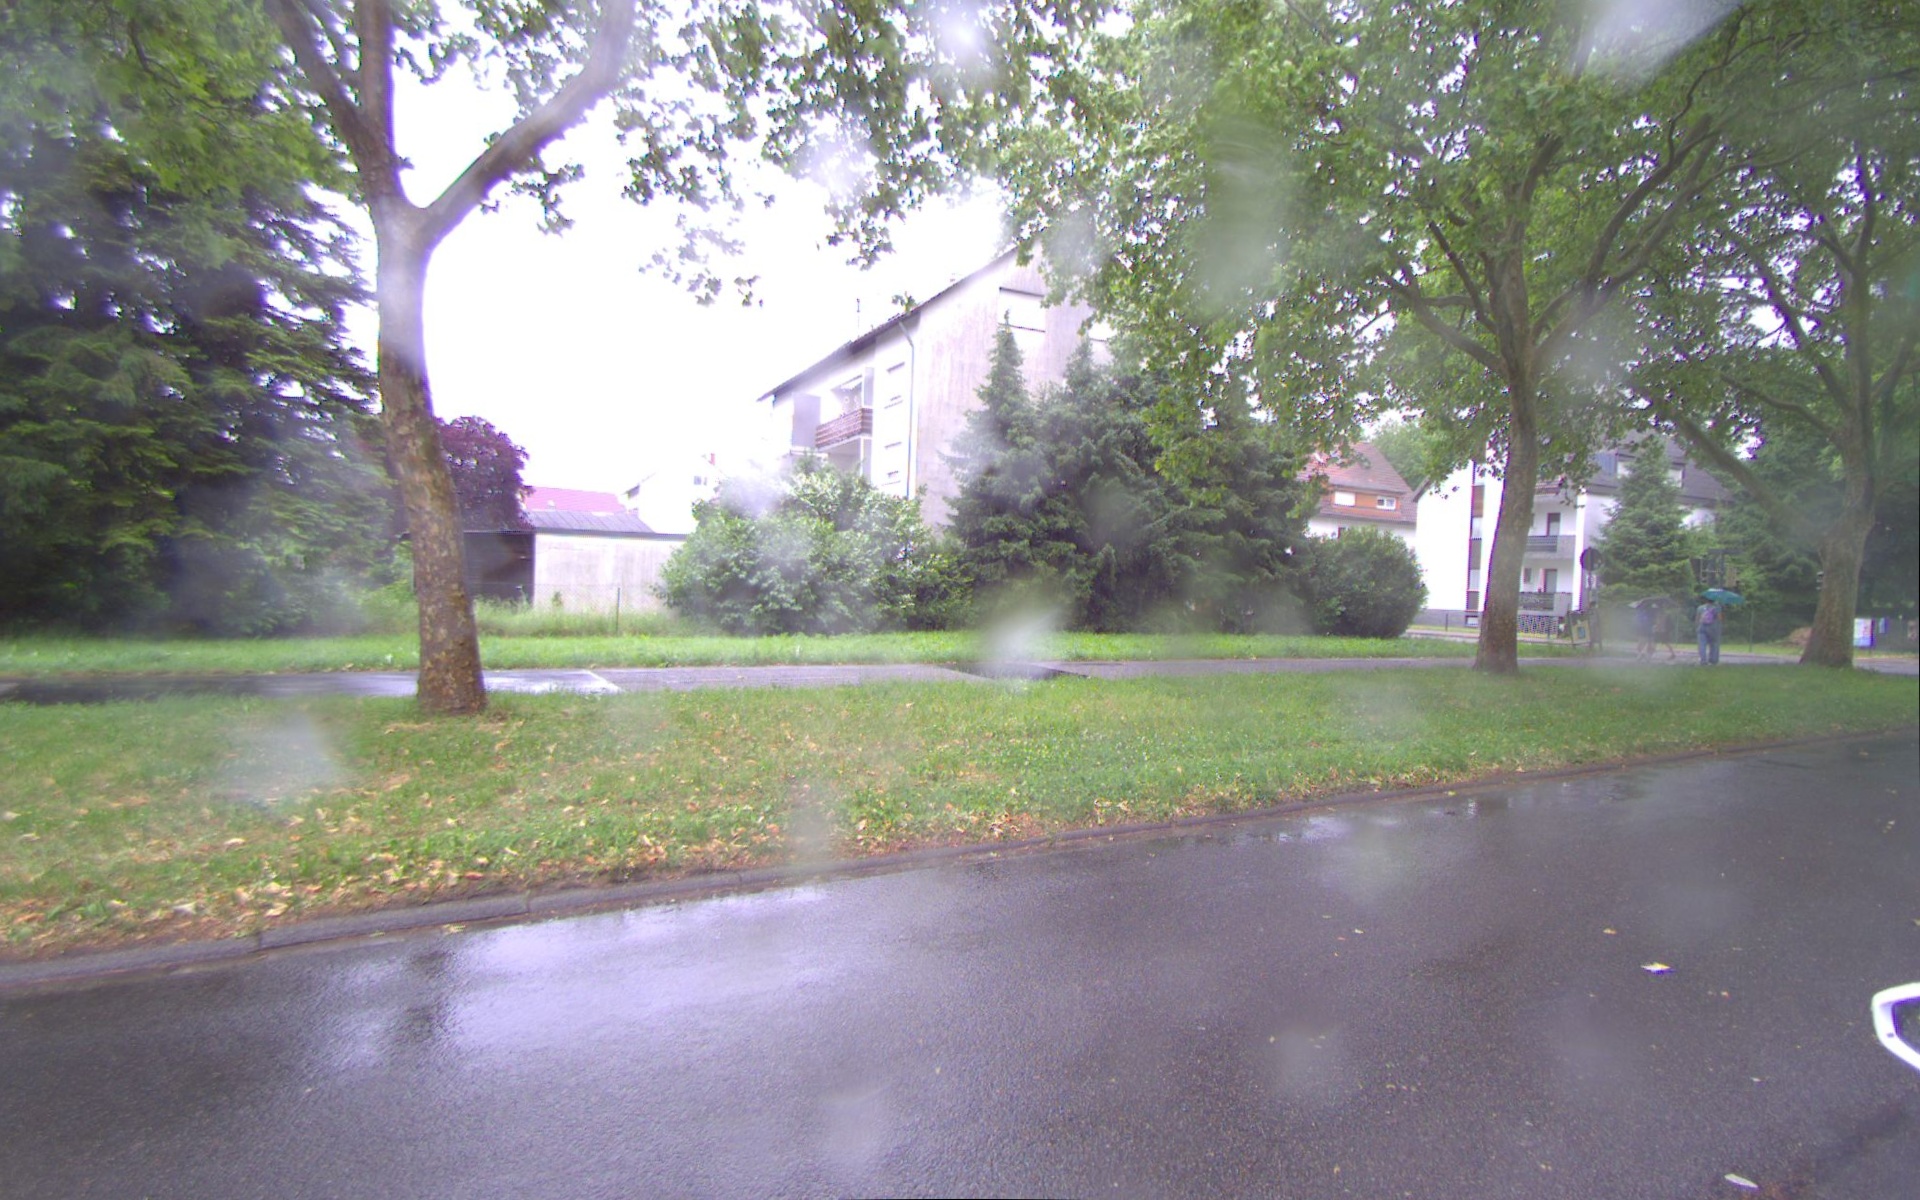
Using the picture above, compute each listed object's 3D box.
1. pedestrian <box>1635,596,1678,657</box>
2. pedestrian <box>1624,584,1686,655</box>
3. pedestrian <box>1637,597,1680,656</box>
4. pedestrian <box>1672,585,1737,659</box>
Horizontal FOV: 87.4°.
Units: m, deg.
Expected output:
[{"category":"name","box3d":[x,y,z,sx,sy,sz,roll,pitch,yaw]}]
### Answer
[{"category":"pedestrian","box3d":[20.801,0.786,30.017,0.633,1.768,0.815,1,1,-33]},{"category":"pedestrian","box3d":[18.057,0.500,26.096,0.869,1.789,1.028,1,1,-30]},{"category":"pedestrian","box3d":[21.450,0.800,30.848,0.633,1.768,0.854,1,1,-33]},{"category":"pedestrian","box3d":[18.599,0.528,25.091,0.828,1.789,1.028,1,1,-30]}]
